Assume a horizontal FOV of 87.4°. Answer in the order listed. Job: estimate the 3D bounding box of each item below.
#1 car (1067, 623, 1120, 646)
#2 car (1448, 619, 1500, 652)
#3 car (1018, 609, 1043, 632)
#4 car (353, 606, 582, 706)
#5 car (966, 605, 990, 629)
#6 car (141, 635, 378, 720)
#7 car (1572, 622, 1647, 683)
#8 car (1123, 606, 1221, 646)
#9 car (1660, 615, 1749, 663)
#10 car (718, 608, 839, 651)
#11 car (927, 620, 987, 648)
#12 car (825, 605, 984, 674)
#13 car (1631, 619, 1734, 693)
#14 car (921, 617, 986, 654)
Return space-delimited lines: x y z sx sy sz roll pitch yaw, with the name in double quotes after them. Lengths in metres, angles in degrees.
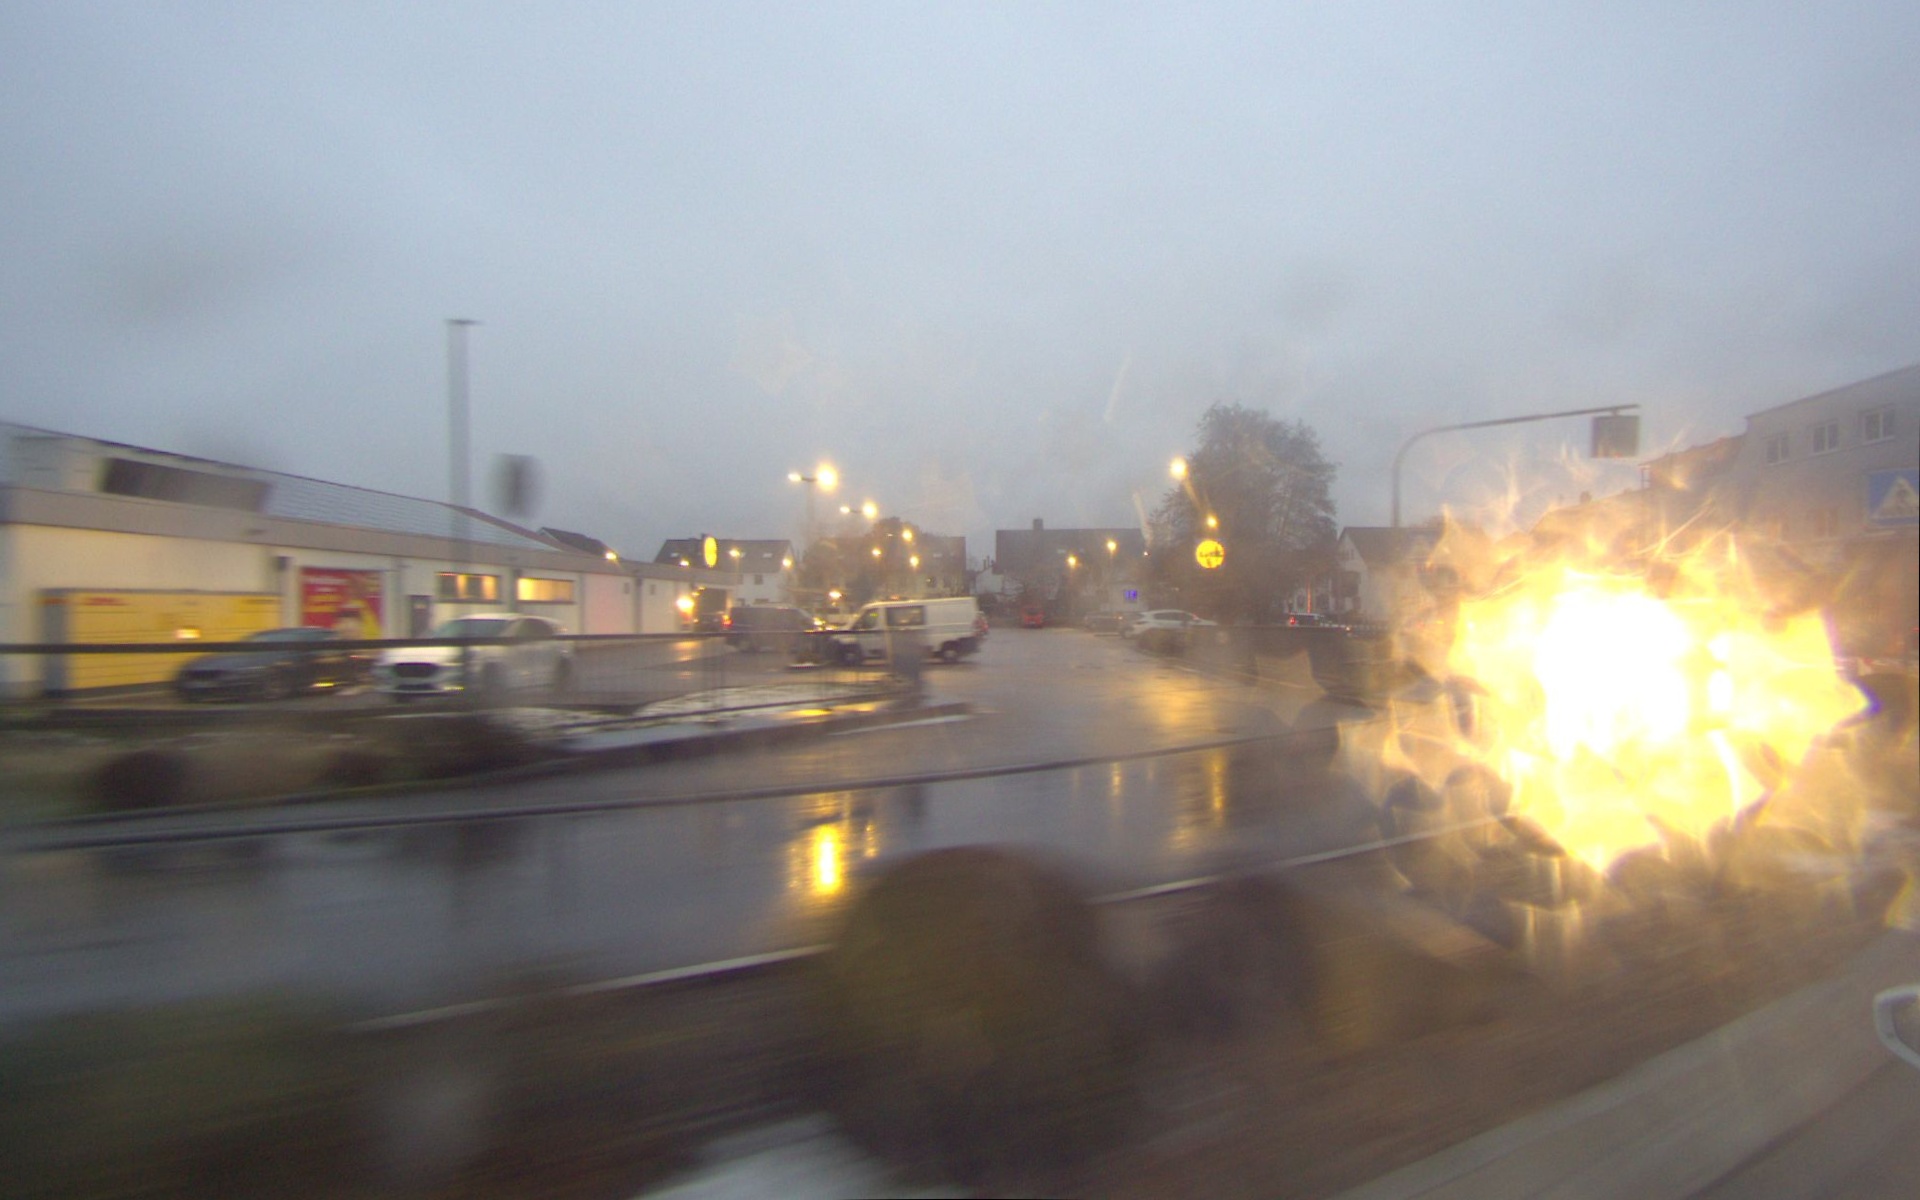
9.876 2.558 74.307 3.831 1.630 1.639 0 0 8 "car"
31.645 2.162 61.974 2.028 1.858 4.572 0 0 17 "car"
6.353 1.816 91.131 1.673 1.942 3.997 1 1 -5 "car"
-9.160 0.962 19.154 2.023 1.582 4.282 2 1 4 "car"
1.632 1.586 92.636 1.836 2.041 3.997 1 1 -5 "car"
-13.990 1.478 20.377 1.805 1.329 4.001 2 1 4 "car"
24.813 1.931 38.518 2.132 2.088 4.562 0 0 30 "car"
9.810 1.187 46.703 4.268 1.771 1.707 0 0 5 "car"
29.802 1.507 40.349 2.031 1.740 4.567 0 0 25 "car"
-8.032 1.304 44.634 4.950 1.688 1.797 2 1 6 "car"
-0.162 2.122 62.770 3.716 1.567 1.735 1 1 1 "car"
-1.883 1.339 35.063 5.316 2.162 2.033 2 0 0 "car"
23.138 1.717 32.366 2.131 2.088 4.563 0 0 29 "car"
-0.336 2.082 59.238 3.716 2.041 1.735 1 1 1 "car"
